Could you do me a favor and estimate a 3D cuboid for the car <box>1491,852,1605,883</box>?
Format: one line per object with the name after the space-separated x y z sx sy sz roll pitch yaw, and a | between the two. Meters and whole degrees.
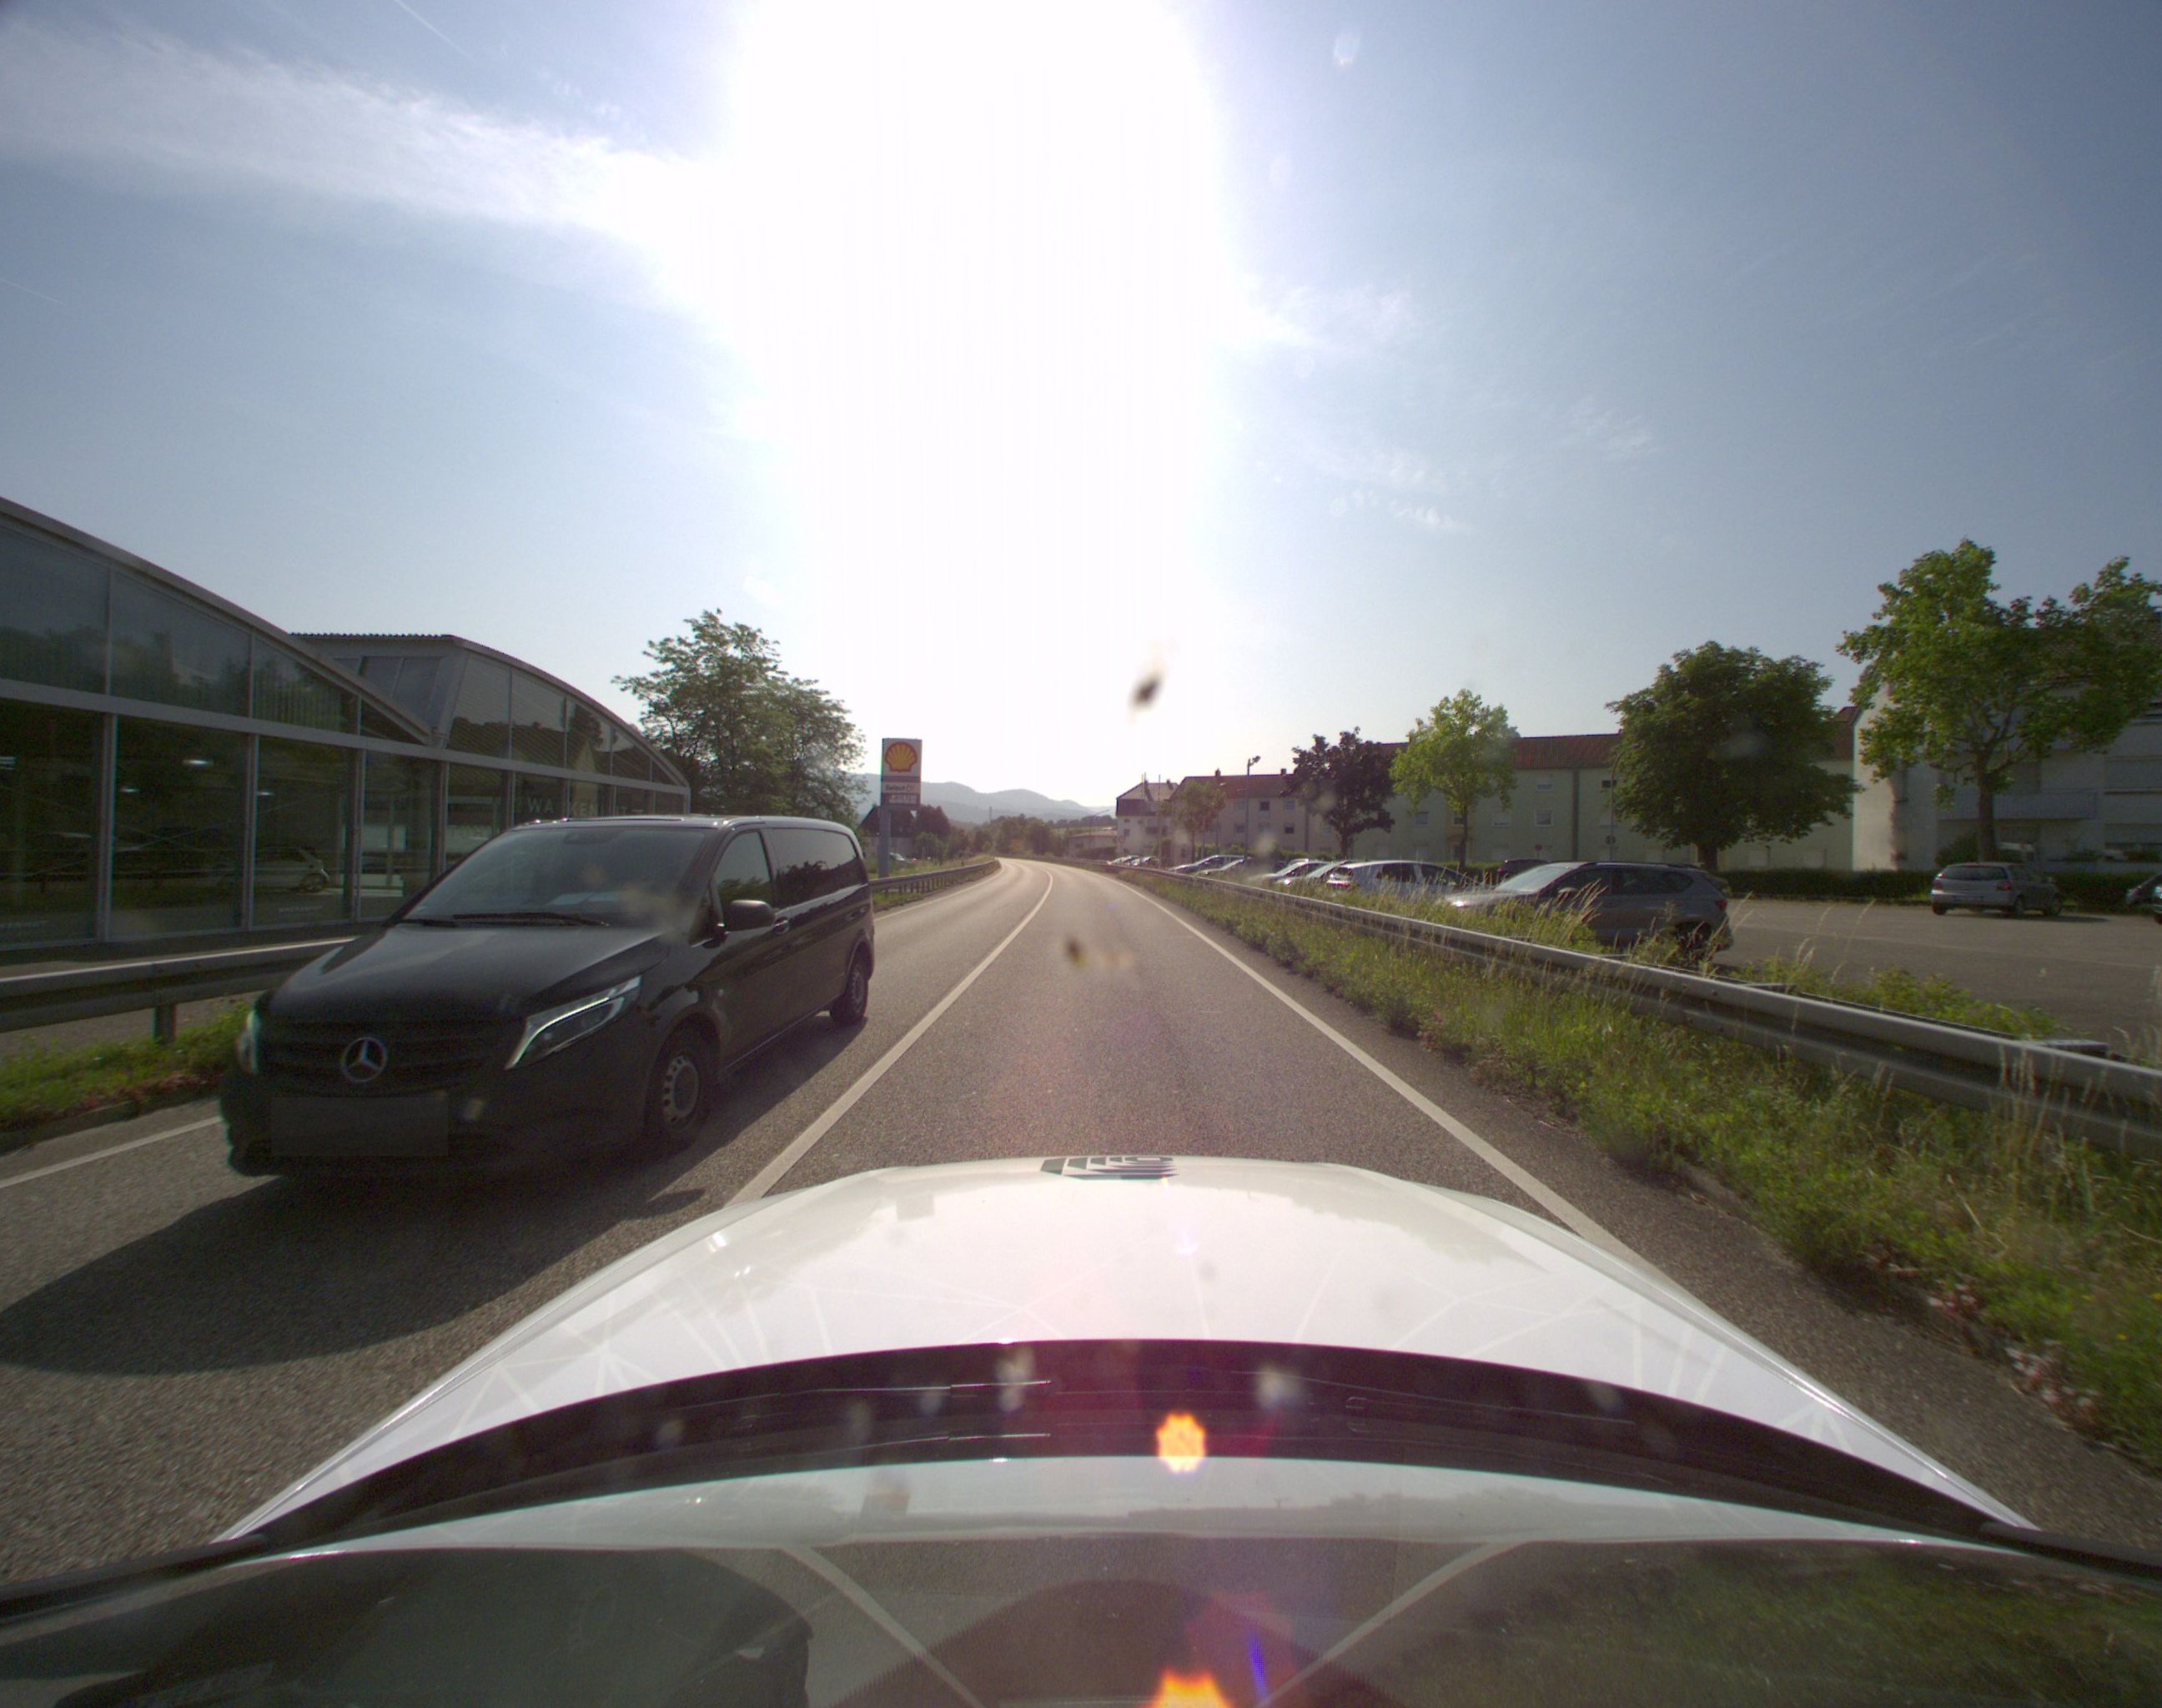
22.332 0.619 39.140 1.917 1.405 4.489 0 0 -24 | car

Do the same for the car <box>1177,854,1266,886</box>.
7.314 0.818 42.648 4.304 1.640 2.140 0 0 0 | car

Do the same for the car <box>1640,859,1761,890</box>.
25.189 0.804 33.246 1.596 1.186 3.634 0 0 -24 | car

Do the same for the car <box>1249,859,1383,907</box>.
7.676 0.940 26.851 3.973 1.521 1.698 0 0 0 | car

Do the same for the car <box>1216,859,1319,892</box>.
8.389 0.952 36.813 4.308 1.444 1.627 0 0 -2 | car

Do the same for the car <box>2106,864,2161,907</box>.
31.082 0.880 22.241 1.598 1.186 3.629 0 0 -28 | car

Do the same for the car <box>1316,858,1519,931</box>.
7.663 0.895 18.811 3.971 1.580 1.779 0 0 2 | car

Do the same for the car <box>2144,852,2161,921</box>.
27.436 0.744 19.214 4.502 1.600 1.827 0 0 -23 | car

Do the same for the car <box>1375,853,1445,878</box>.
18.698 0.657 46.434 1.658 1.366 3.634 0 0 -24 | car

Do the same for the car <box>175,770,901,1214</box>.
-2.907 0.601 5.995 1.907 1.885 4.912 -1 0 2 | car

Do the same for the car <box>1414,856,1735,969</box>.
7.648 0.862 12.935 3.973 1.640 1.888 0 0 0 | car

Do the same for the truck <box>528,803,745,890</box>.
-20.076 -0.310 37.348 2.771 3.556 8.263 1 0 40 | truck

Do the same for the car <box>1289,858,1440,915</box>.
8.213 0.921 23.849 3.833 1.568 1.807 0 0 0 | car

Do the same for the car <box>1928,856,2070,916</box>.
25.355 0.831 22.487 3.772 1.521 1.643 0 0 -26 | car
